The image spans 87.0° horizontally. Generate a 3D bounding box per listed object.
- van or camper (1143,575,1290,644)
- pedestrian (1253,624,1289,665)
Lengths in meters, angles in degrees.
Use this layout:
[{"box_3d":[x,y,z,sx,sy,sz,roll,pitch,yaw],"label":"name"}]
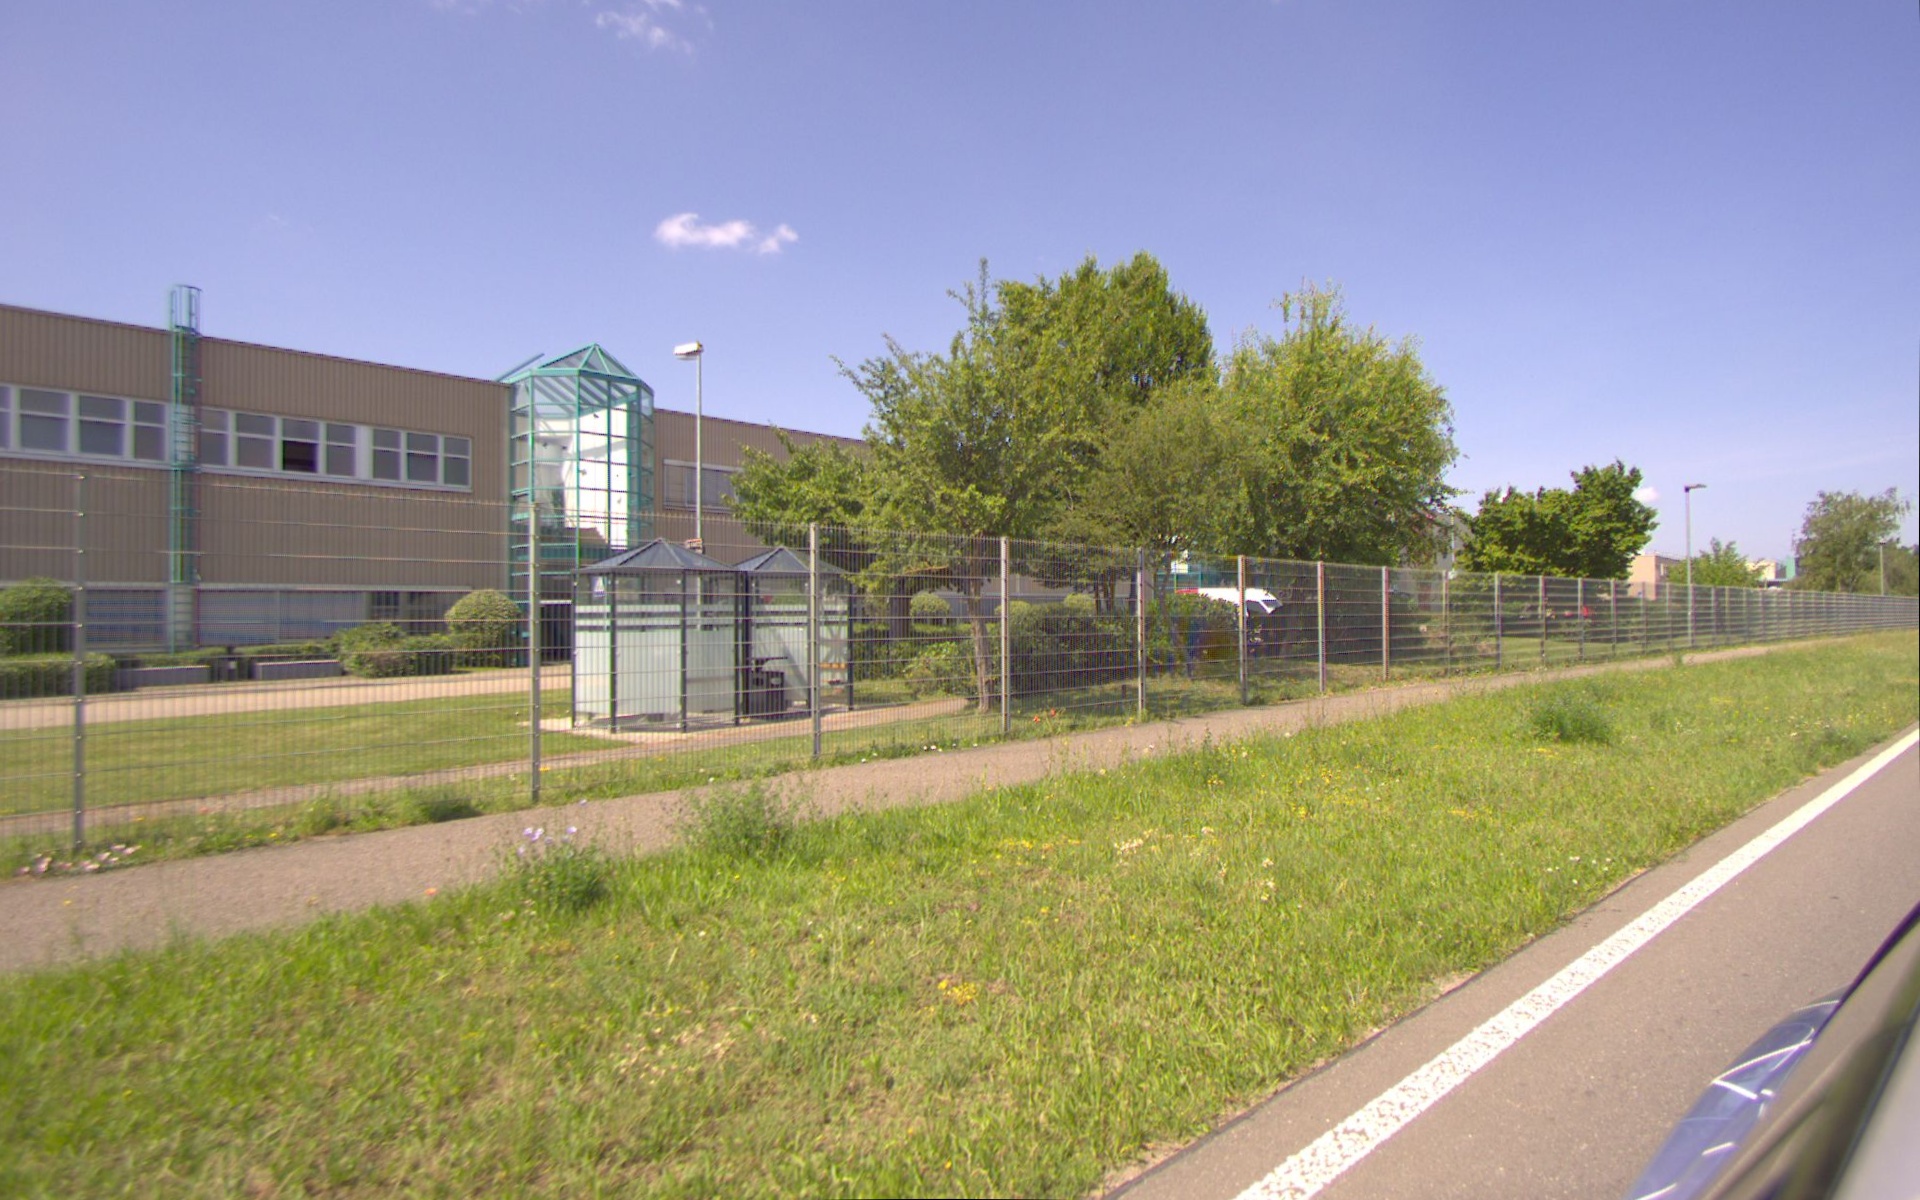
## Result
[{"box_3d":[10.862,0.470,43.206,5.766,2.551,1.969,-5,-4,43],"label":"van or camper"},{"box_3d":[7.145,1.013,23.224,0.662,0.905,0.505,-2,-2,34],"label":"pedestrian"}]
